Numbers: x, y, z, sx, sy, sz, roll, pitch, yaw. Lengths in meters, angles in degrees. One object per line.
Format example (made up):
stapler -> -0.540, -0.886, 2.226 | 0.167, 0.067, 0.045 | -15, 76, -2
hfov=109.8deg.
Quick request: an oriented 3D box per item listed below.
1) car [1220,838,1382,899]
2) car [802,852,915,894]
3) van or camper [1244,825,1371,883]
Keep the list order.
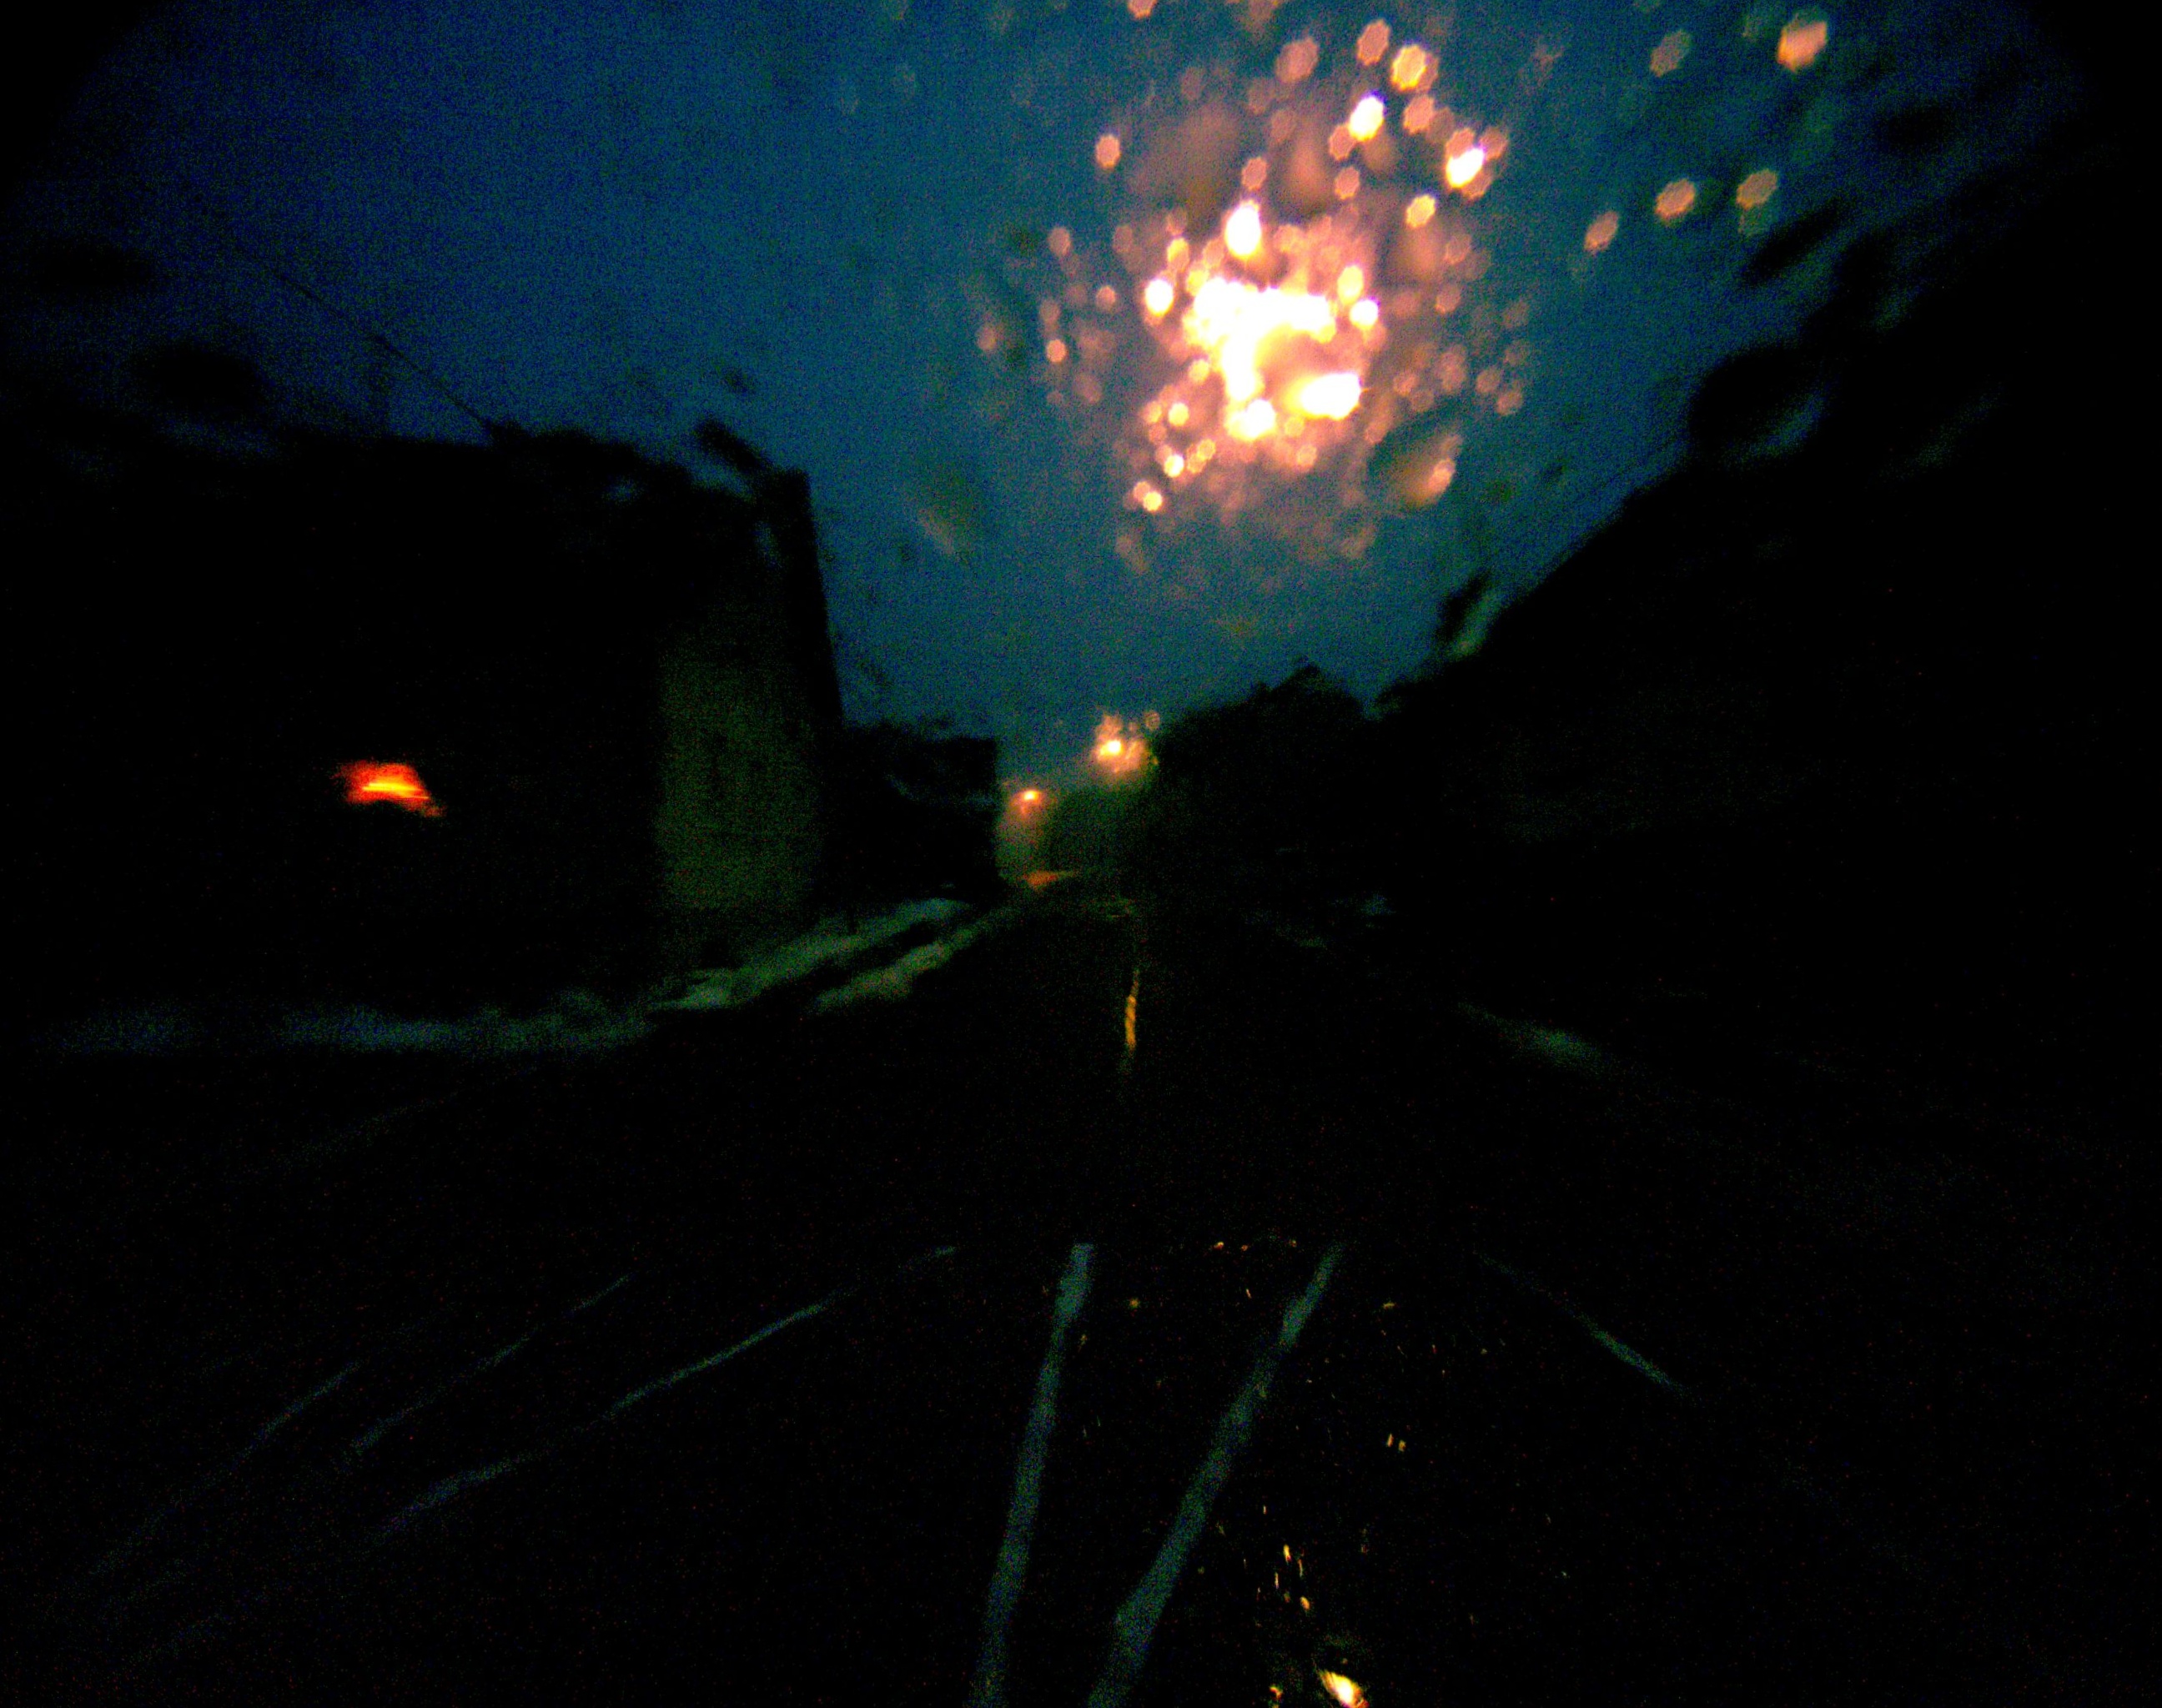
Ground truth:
car -> 7.124, 0.468, 25.041 | 4.802, 1.657, 1.891 | -4, 0, 5
car -> -9.694, 0.795, 33.449 | 4.461, 1.578, 1.998 | -2, 1, -9
van or camper -> 10.211, -0.004, 34.232 | 5.312, 2.434, 2.141 | 0, 0, -23
